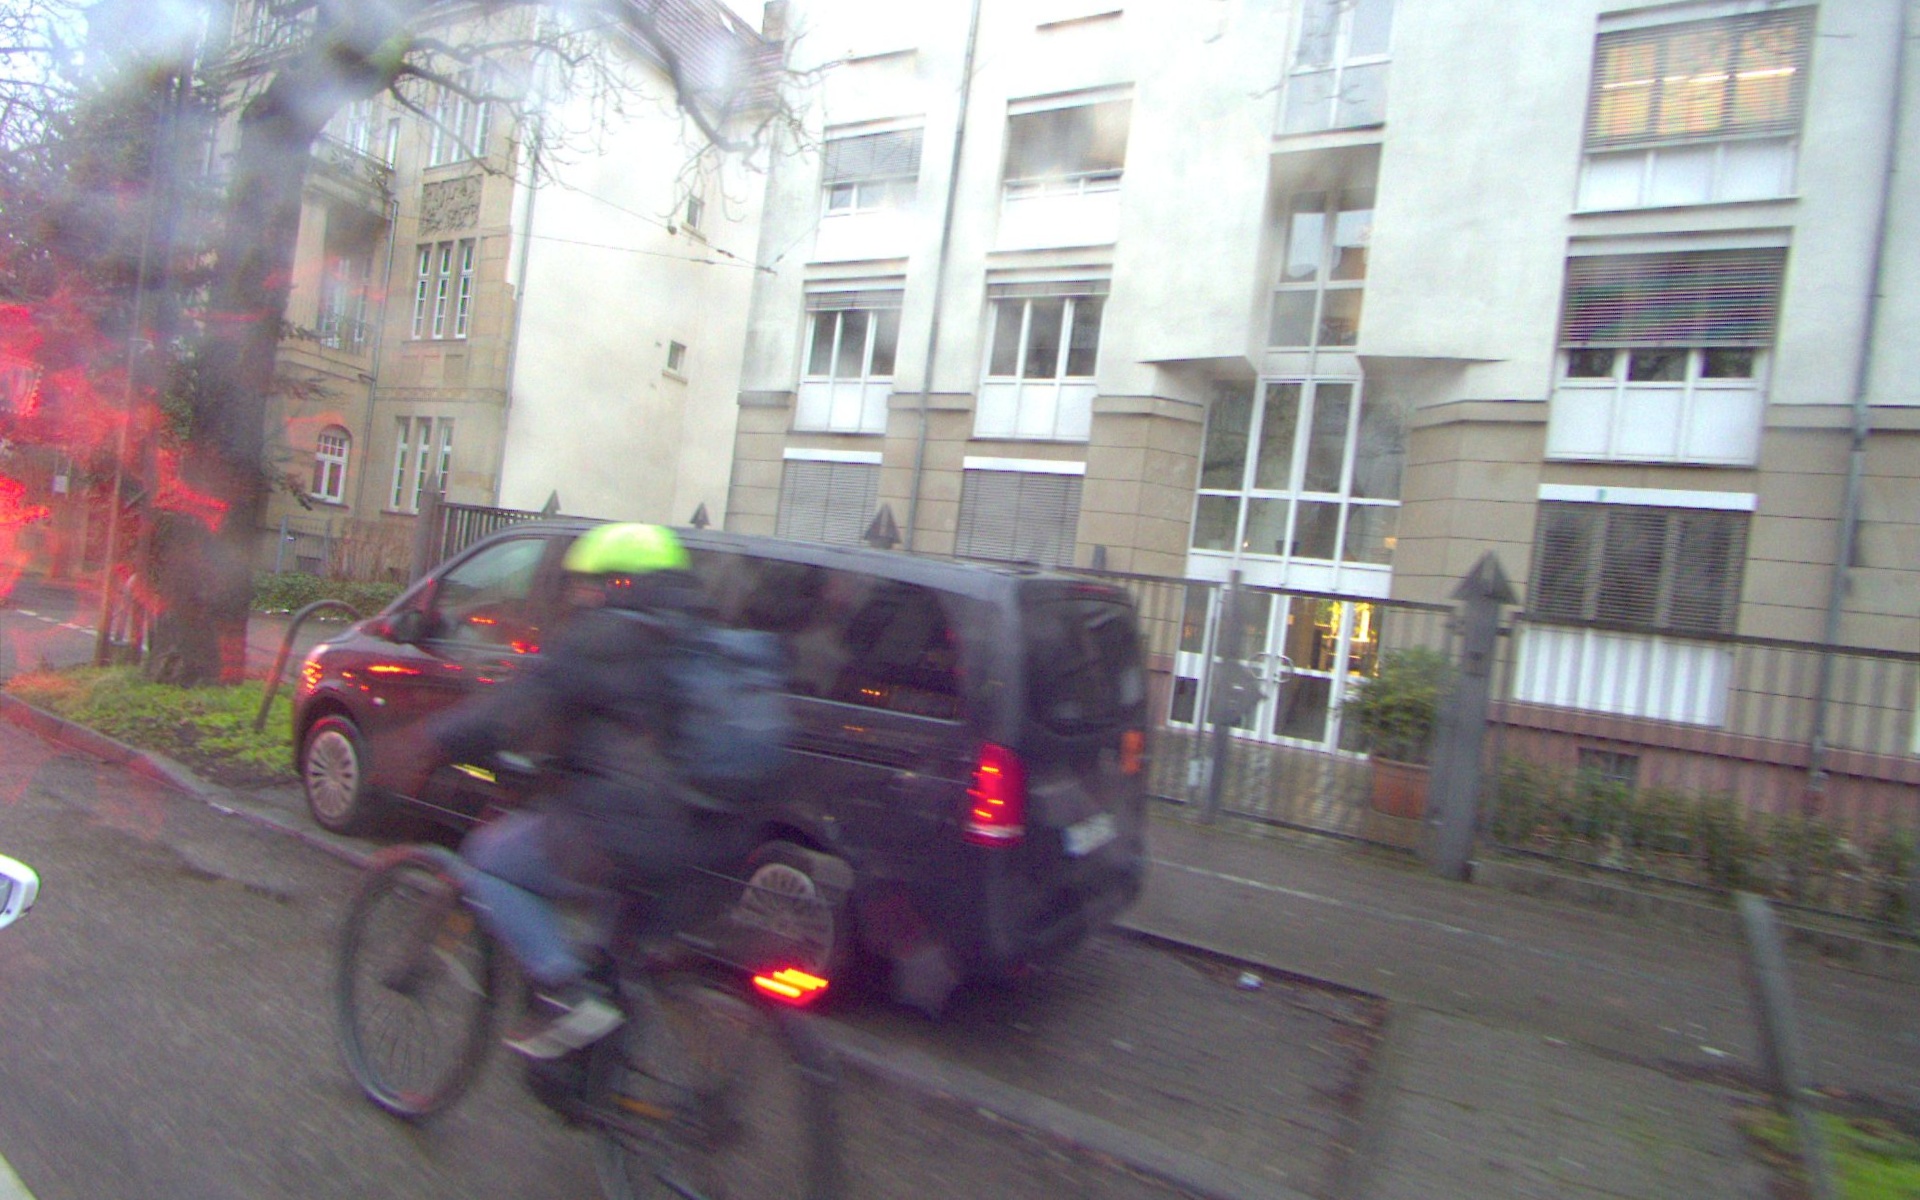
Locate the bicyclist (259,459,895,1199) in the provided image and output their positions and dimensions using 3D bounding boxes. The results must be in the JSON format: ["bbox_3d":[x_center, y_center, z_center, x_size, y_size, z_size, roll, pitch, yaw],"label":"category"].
[{"bbox_3d":[-0.894,0.598,2.450,1.037,1.681,0.719,7,-2,25],"label":"bicyclist"}]

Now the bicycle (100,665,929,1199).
[{"bbox_3d":[-1.156,0.877,2.548,1.907,1.125,0.719,8,-2,25],"label":"bicycle"}]

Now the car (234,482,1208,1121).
[{"bbox_3d":[-1.443,0.609,5.440,4.878,1.899,2.034,7,0,29],"label":"car"}]
